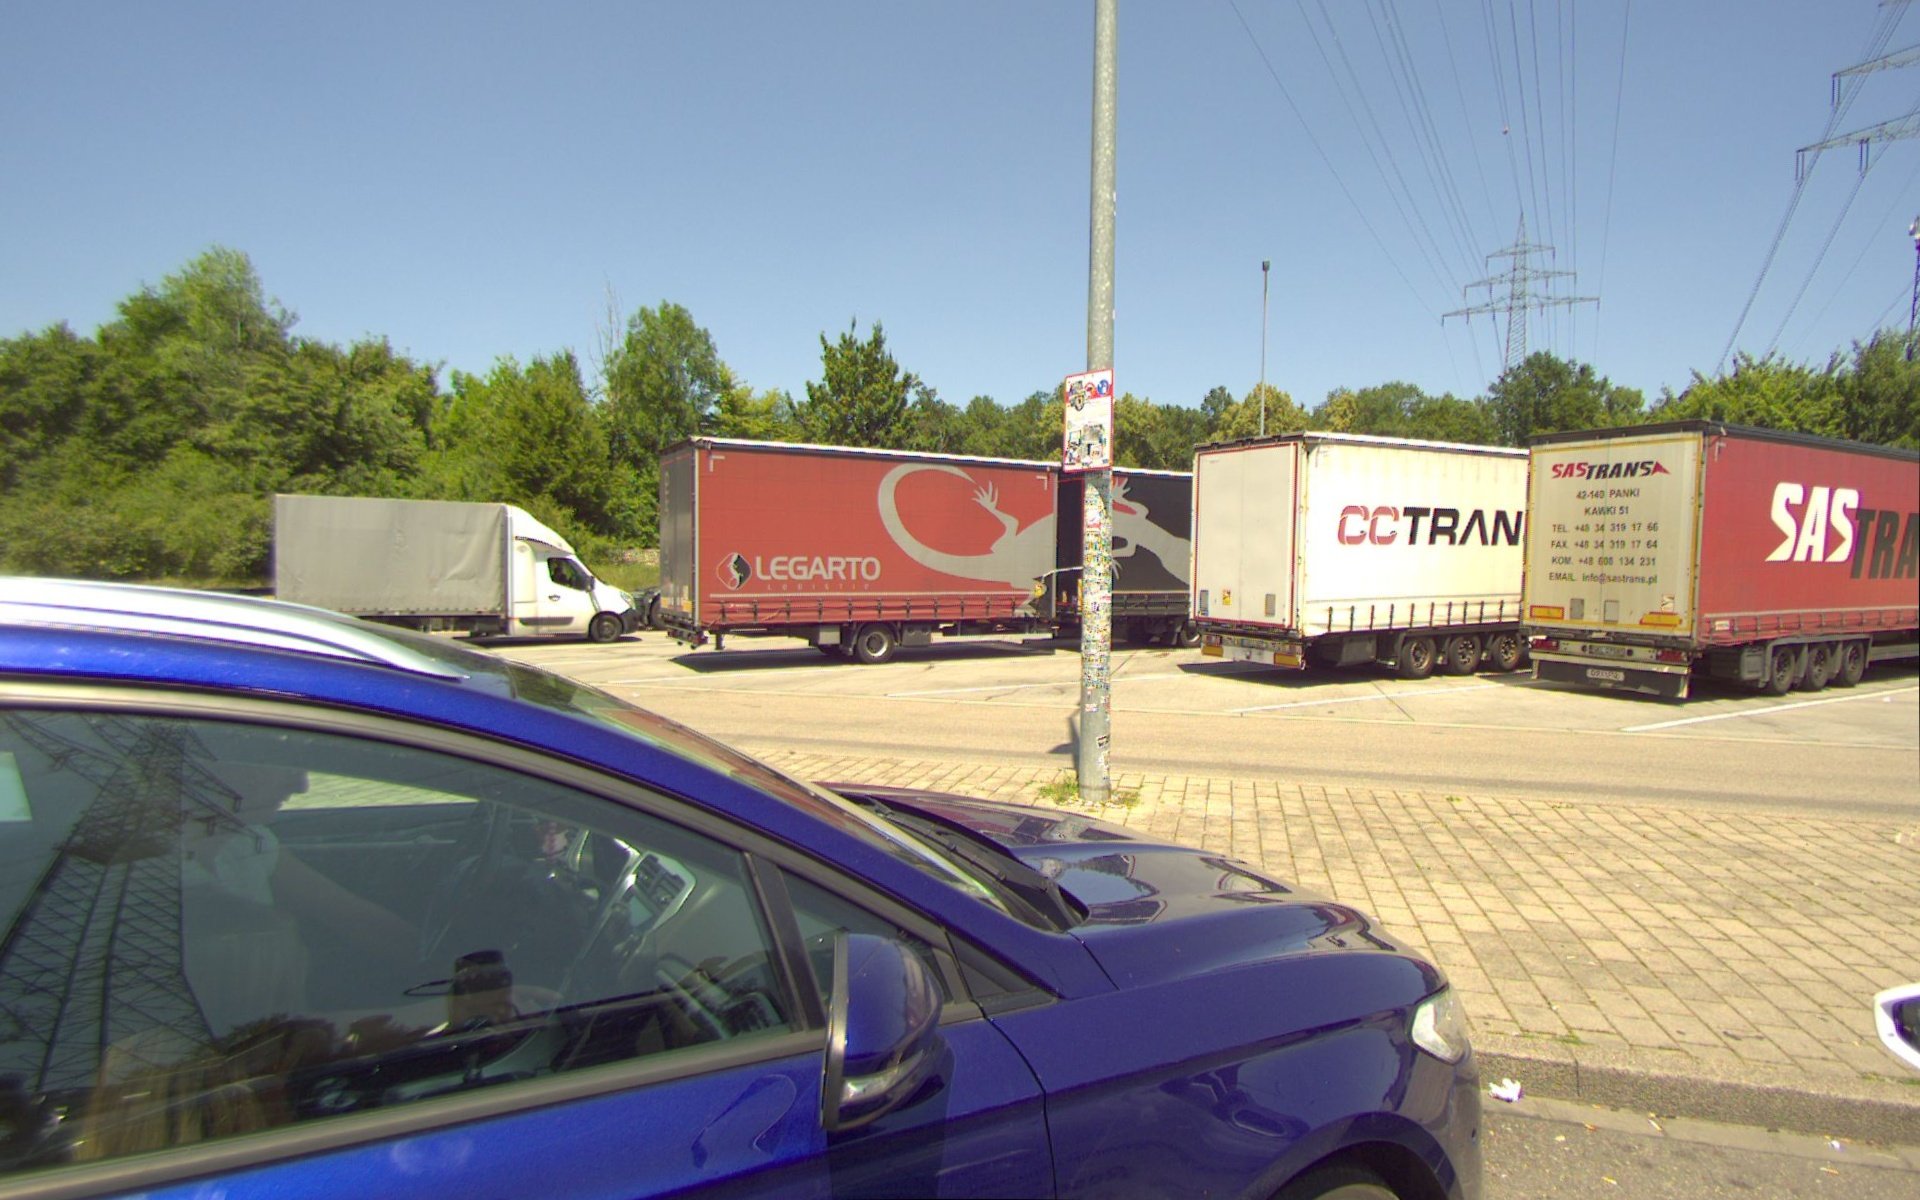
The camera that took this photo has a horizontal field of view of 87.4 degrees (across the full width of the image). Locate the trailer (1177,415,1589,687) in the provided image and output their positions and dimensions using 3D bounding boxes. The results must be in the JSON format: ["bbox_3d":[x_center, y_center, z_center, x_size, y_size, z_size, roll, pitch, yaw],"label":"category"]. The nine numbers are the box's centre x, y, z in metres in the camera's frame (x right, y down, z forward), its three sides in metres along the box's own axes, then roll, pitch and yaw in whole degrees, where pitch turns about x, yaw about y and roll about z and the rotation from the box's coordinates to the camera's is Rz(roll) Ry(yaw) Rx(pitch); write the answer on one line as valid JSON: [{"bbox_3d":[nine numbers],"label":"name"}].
[{"bbox_3d":[8.114,-0.755,18.835,8.189,4.208,2.741,0,1,-30],"label":"trailer"}]

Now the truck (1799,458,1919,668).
[{"bbox_3d":[21.446,-0.727,22.069,5.824,4.189,2.792,0,0,-30],"label":"truck"}]

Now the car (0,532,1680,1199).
[{"bbox_3d":[-0.995,0.668,1.486,4.362,1.437,1.731,1,0,-30],"label":"car"}]

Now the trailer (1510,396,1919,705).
[{"bbox_3d":[15.263,-0.649,18.434,13.046,4.276,2.786,0,0,-31],"label":"trailer"}]

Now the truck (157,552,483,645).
[{"bbox_3d":[-15.424,-0.023,24.719,6.538,2.040,1.984,0,0,-30],"label":"truck"}]

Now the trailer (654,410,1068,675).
[{"bbox_3d":[-1.819,-0.968,20.268,7.963,4.510,2.648,0,0,-31],"label":"trailer"}]

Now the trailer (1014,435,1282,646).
[{"bbox_3d":[4.564,-1.254,24.103,6.076,4.504,2.665,0,0,-30],"label":"trailer"}]

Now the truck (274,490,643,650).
[{"bbox_3d":[-11.108,-0.584,22.792,7.171,3.194,2.160,0,1,-30],"label":"truck"}]
